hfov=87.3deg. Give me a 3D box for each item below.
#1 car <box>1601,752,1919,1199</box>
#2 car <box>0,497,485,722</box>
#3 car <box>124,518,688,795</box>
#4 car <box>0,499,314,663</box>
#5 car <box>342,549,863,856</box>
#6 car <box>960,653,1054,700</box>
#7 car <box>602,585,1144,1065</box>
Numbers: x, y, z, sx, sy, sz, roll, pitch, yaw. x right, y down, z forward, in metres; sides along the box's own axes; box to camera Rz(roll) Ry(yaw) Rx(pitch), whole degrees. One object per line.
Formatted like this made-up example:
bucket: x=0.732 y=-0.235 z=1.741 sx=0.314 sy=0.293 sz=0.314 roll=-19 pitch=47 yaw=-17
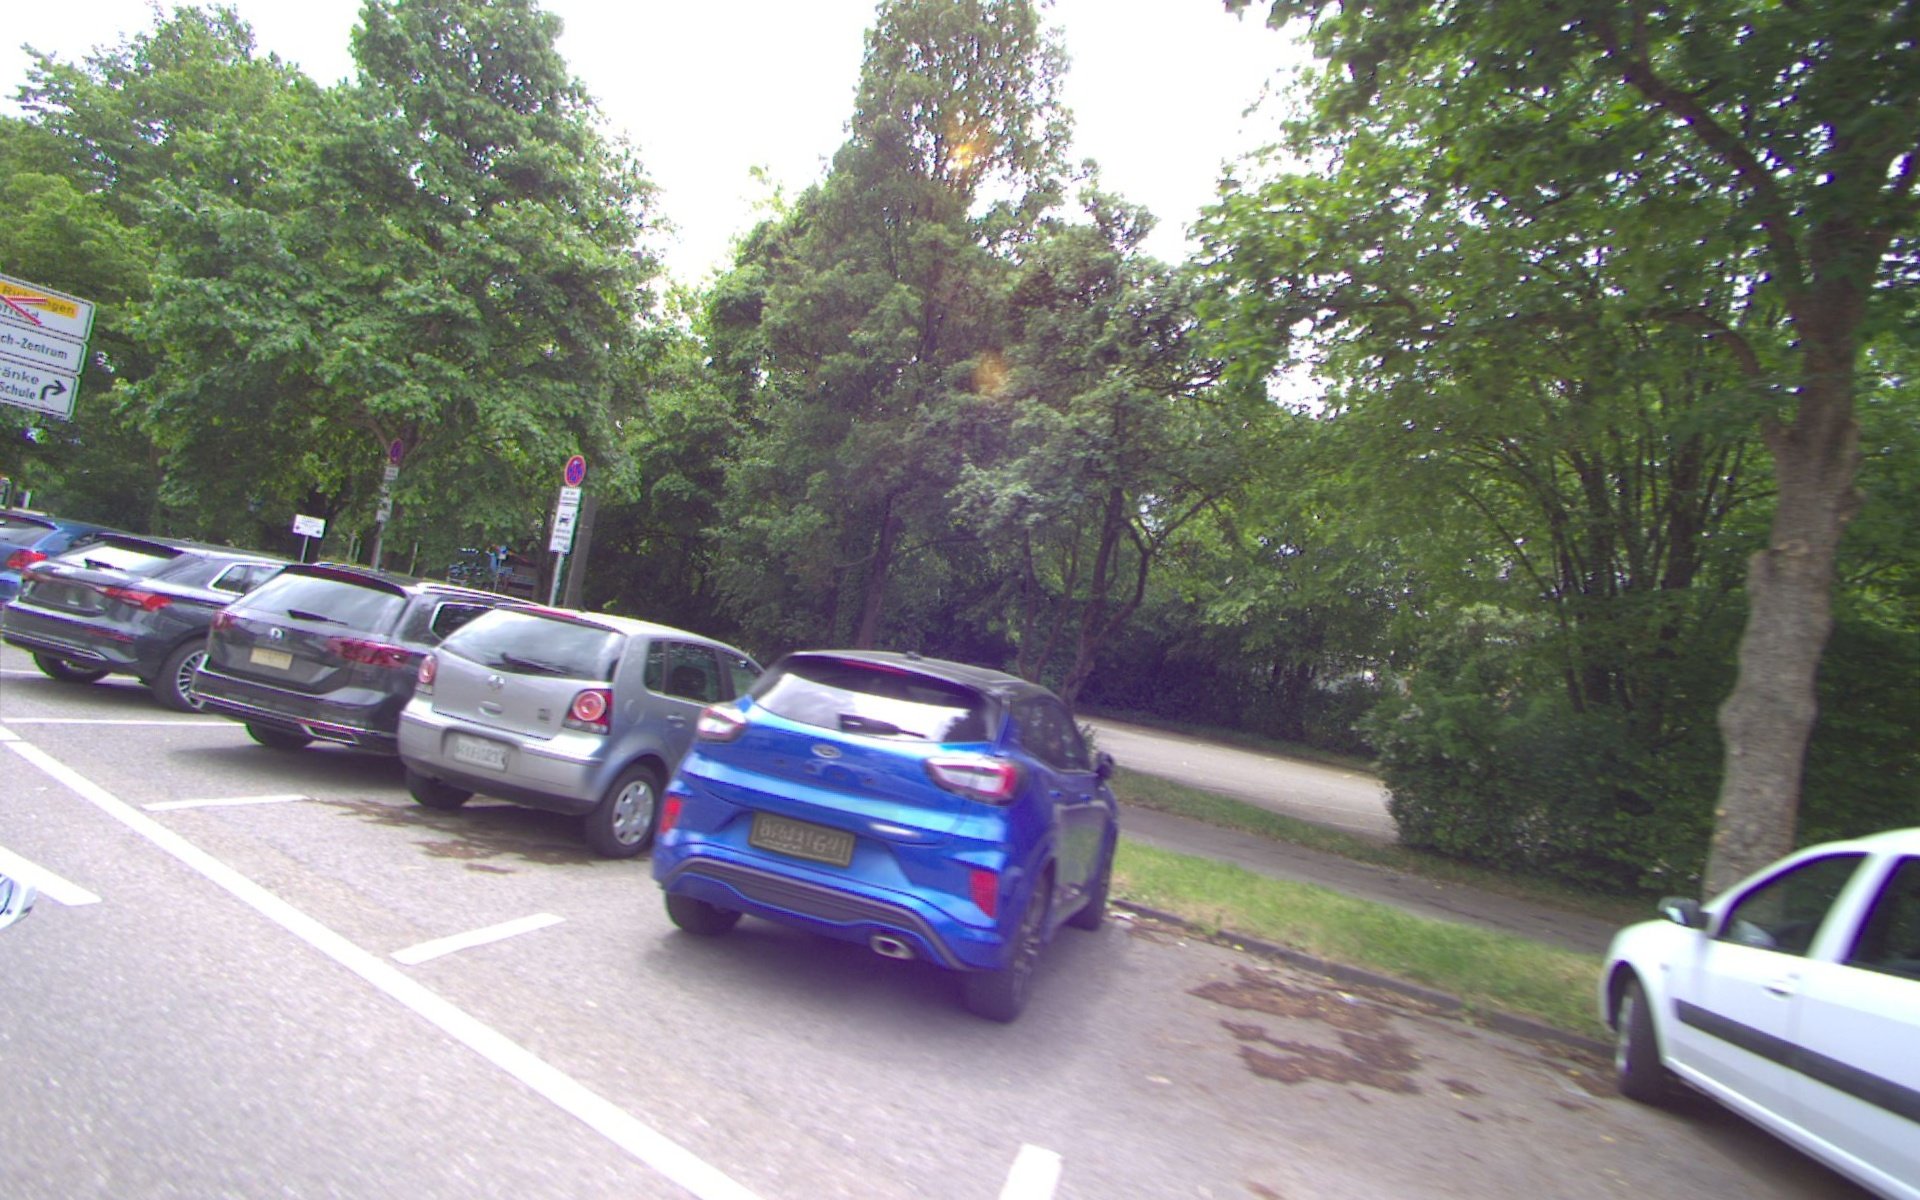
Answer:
car: x=4.116 y=1.577 z=3.583 sx=1.843 sy=1.735 sz=3.845 roll=8 pitch=-6 yaw=15
car: x=-6.875 y=0.248 z=9.811 sx=1.795 sy=1.439 sz=3.900 roll=8 pitch=-7 yaw=15
car: x=-4.119 y=0.617 z=8.327 sx=1.713 sy=1.542 sz=3.845 roll=8 pitch=-7 yaw=15
car: x=-10.908 y=-0.203 z=13.137 sx=1.713 sy=1.438 sz=3.845 roll=8 pitch=-7 yaw=15
car: x=-2.320 y=0.852 z=7.753 sx=1.713 sy=1.542 sz=3.845 roll=8 pitch=-7 yaw=15
car: x=2.032 y=3.257 z=42.451 sx=1.774 sy=1.424 sz=3.989 roll=6 pitch=-5 yaw=40
car: x=-0.050 y=1.104 z=5.776 sx=1.713 sy=1.542 sz=3.845 roll=8 pitch=-7 yaw=15
